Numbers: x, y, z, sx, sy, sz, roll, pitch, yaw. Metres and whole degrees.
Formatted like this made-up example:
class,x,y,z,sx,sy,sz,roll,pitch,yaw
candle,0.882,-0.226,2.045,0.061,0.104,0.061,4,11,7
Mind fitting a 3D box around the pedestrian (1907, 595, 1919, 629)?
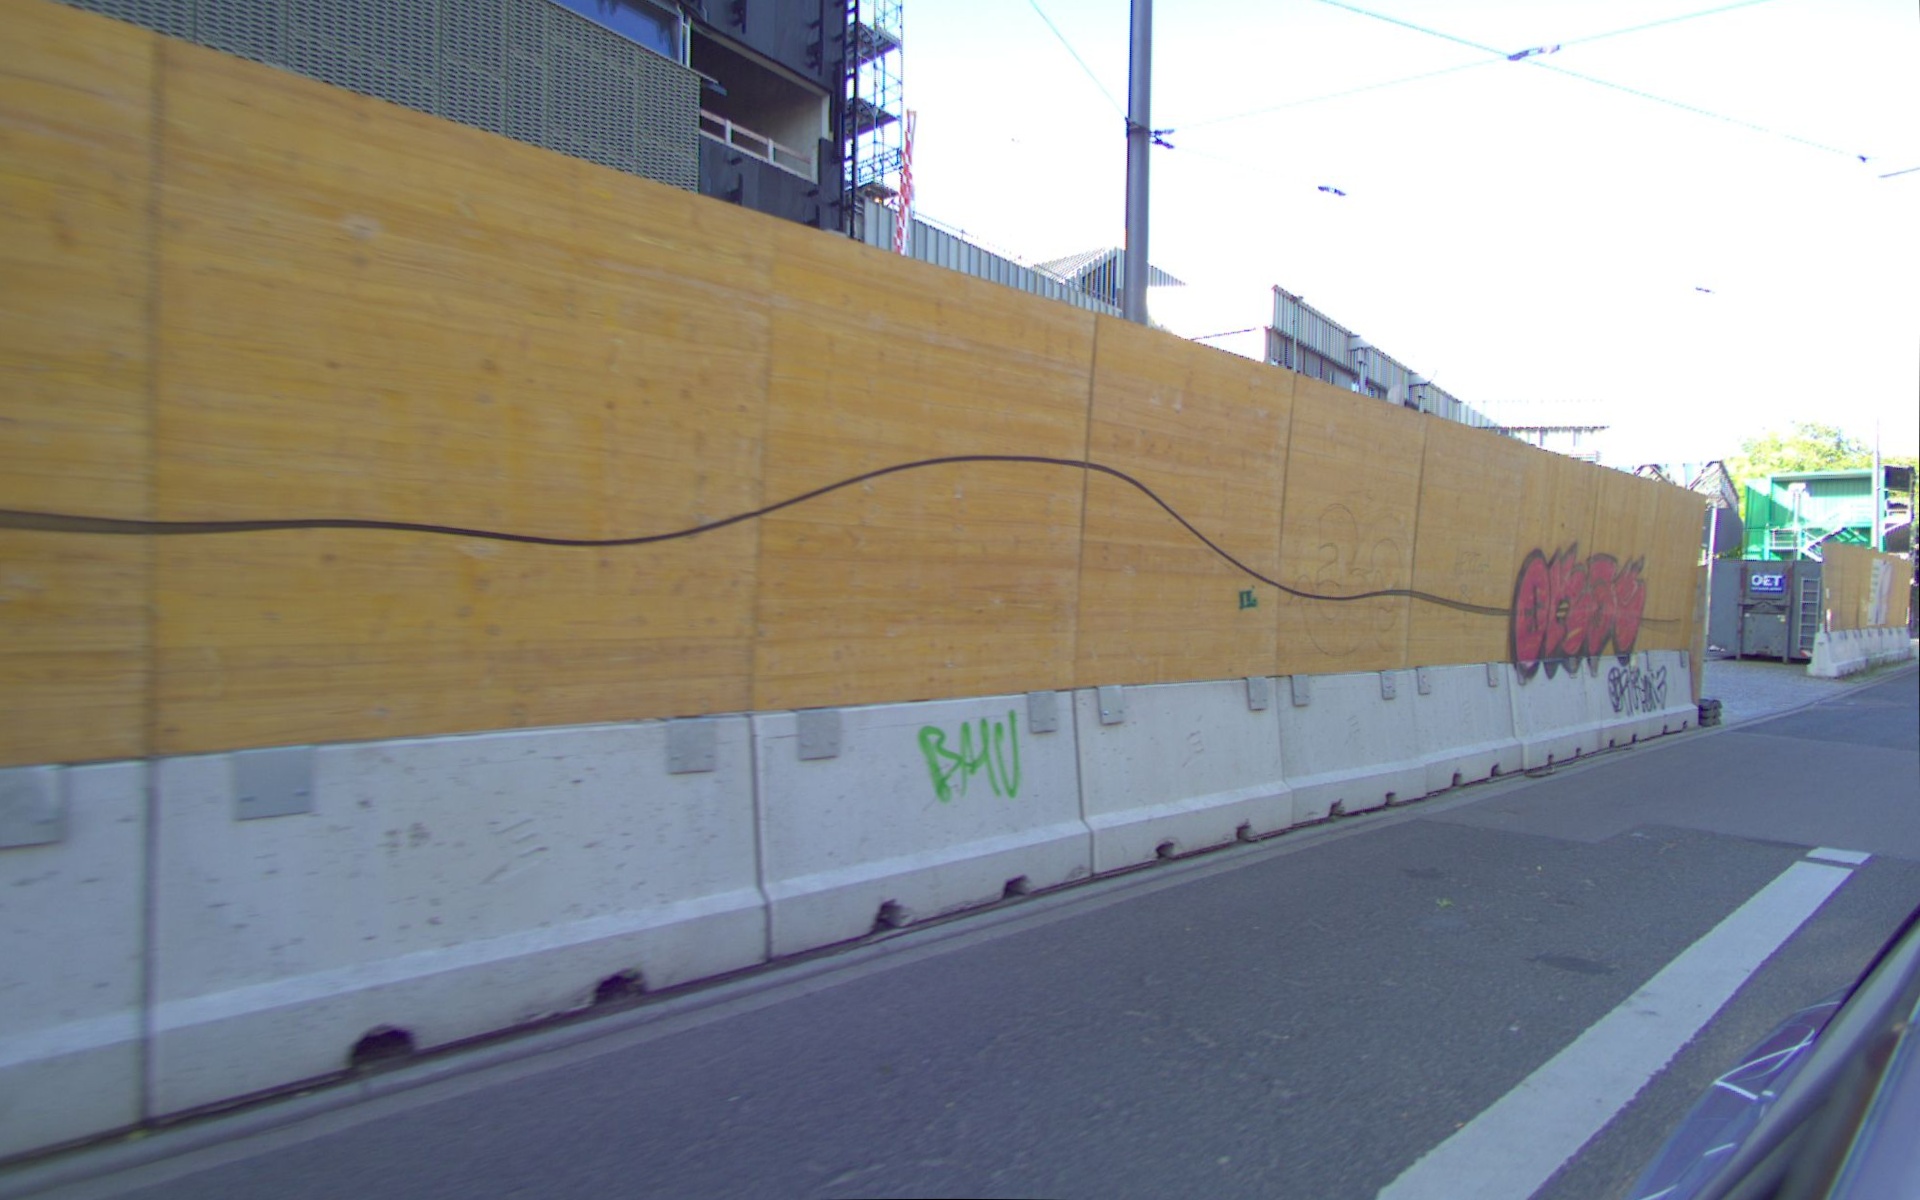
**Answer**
class,x,y,z,sx,sy,sz,roll,pitch,yaw
pedestrian,50.568,0.614,53.663,0.445,1.780,0.373,1,0,30
